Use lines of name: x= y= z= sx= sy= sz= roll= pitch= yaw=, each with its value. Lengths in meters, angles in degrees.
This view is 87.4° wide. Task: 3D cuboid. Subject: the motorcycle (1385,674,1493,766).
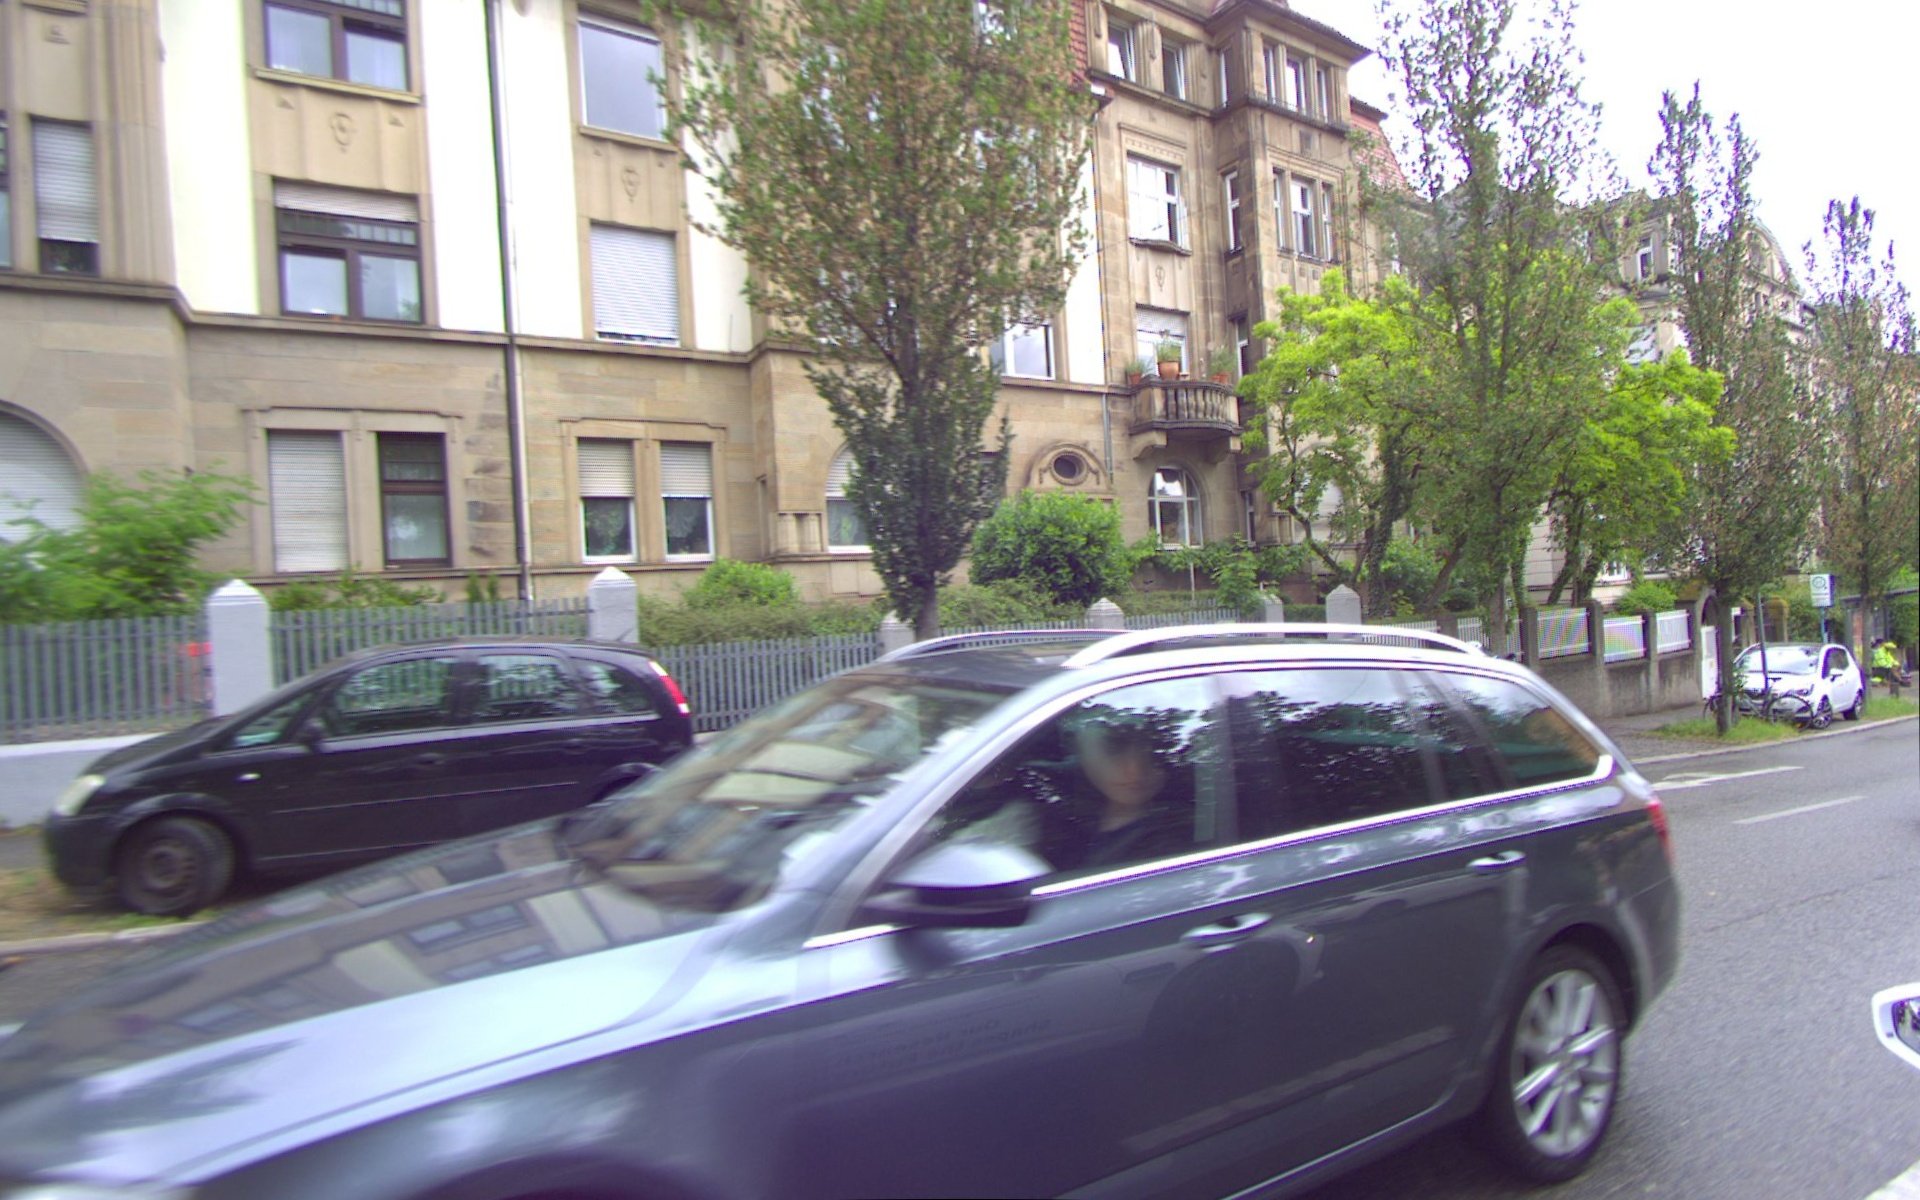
motorcycle: x=6.952 y=1.690 z=14.530 sx=2.139 sy=1.136 sz=0.646 roll=1 pitch=-1 yaw=-42

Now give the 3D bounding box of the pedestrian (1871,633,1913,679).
pedestrian: x=28.628 y=1.710 z=30.859 sx=0.606 sy=1.360 sz=0.703 roll=1 pitch=-6 yaw=-32

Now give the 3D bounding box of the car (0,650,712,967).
car: x=-3.954 y=1.196 z=7.064 sx=3.952 sy=1.634 sz=1.806 roll=2 pitch=-1 yaw=-30

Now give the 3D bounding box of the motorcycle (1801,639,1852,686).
motorcycle: x=23.994 y=1.723 z=27.806 sx=1.626 sy=1.253 sz=0.557 roll=2 pitch=-4 yaw=-32

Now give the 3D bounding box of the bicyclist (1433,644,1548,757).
bicyclist: x=5.981 y=1.110 z=11.315 sx=1.074 sy=1.184 sz=0.764 roll=1 pitch=-5 yaw=-42

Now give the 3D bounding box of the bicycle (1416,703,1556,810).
bicycle: x=5.886 y=1.685 z=11.178 sx=2.139 sy=0.995 sz=0.647 roll=2 pitch=-5 yaw=-42

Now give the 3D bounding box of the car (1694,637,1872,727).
car: x=17.177 y=1.676 z=20.913 sx=4.156 sy=1.672 sz=1.776 roll=1 pitch=-6 yaw=-36

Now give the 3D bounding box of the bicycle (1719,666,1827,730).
bicycle: x=15.292 y=1.861 z=18.934 sx=0.377 sy=1.135 sz=1.452 roll=1 pitch=-6 yaw=-37

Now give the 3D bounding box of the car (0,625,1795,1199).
car: x=0.323 y=0.853 z=2.847 sx=4.230 sy=1.492 sz=1.731 roll=1 pitch=-3 yaw=-30

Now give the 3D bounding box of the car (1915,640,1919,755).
car: x=9.847 y=1.077 z=8.518 sx=3.951 sy=1.467 sz=1.651 roll=2 pitch=-4 yaw=-33

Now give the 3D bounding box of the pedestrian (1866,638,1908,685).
pedestrian: x=28.113 y=1.868 z=30.474 sx=0.606 sy=1.360 sz=0.703 roll=1 pitch=-6 yaw=-32
